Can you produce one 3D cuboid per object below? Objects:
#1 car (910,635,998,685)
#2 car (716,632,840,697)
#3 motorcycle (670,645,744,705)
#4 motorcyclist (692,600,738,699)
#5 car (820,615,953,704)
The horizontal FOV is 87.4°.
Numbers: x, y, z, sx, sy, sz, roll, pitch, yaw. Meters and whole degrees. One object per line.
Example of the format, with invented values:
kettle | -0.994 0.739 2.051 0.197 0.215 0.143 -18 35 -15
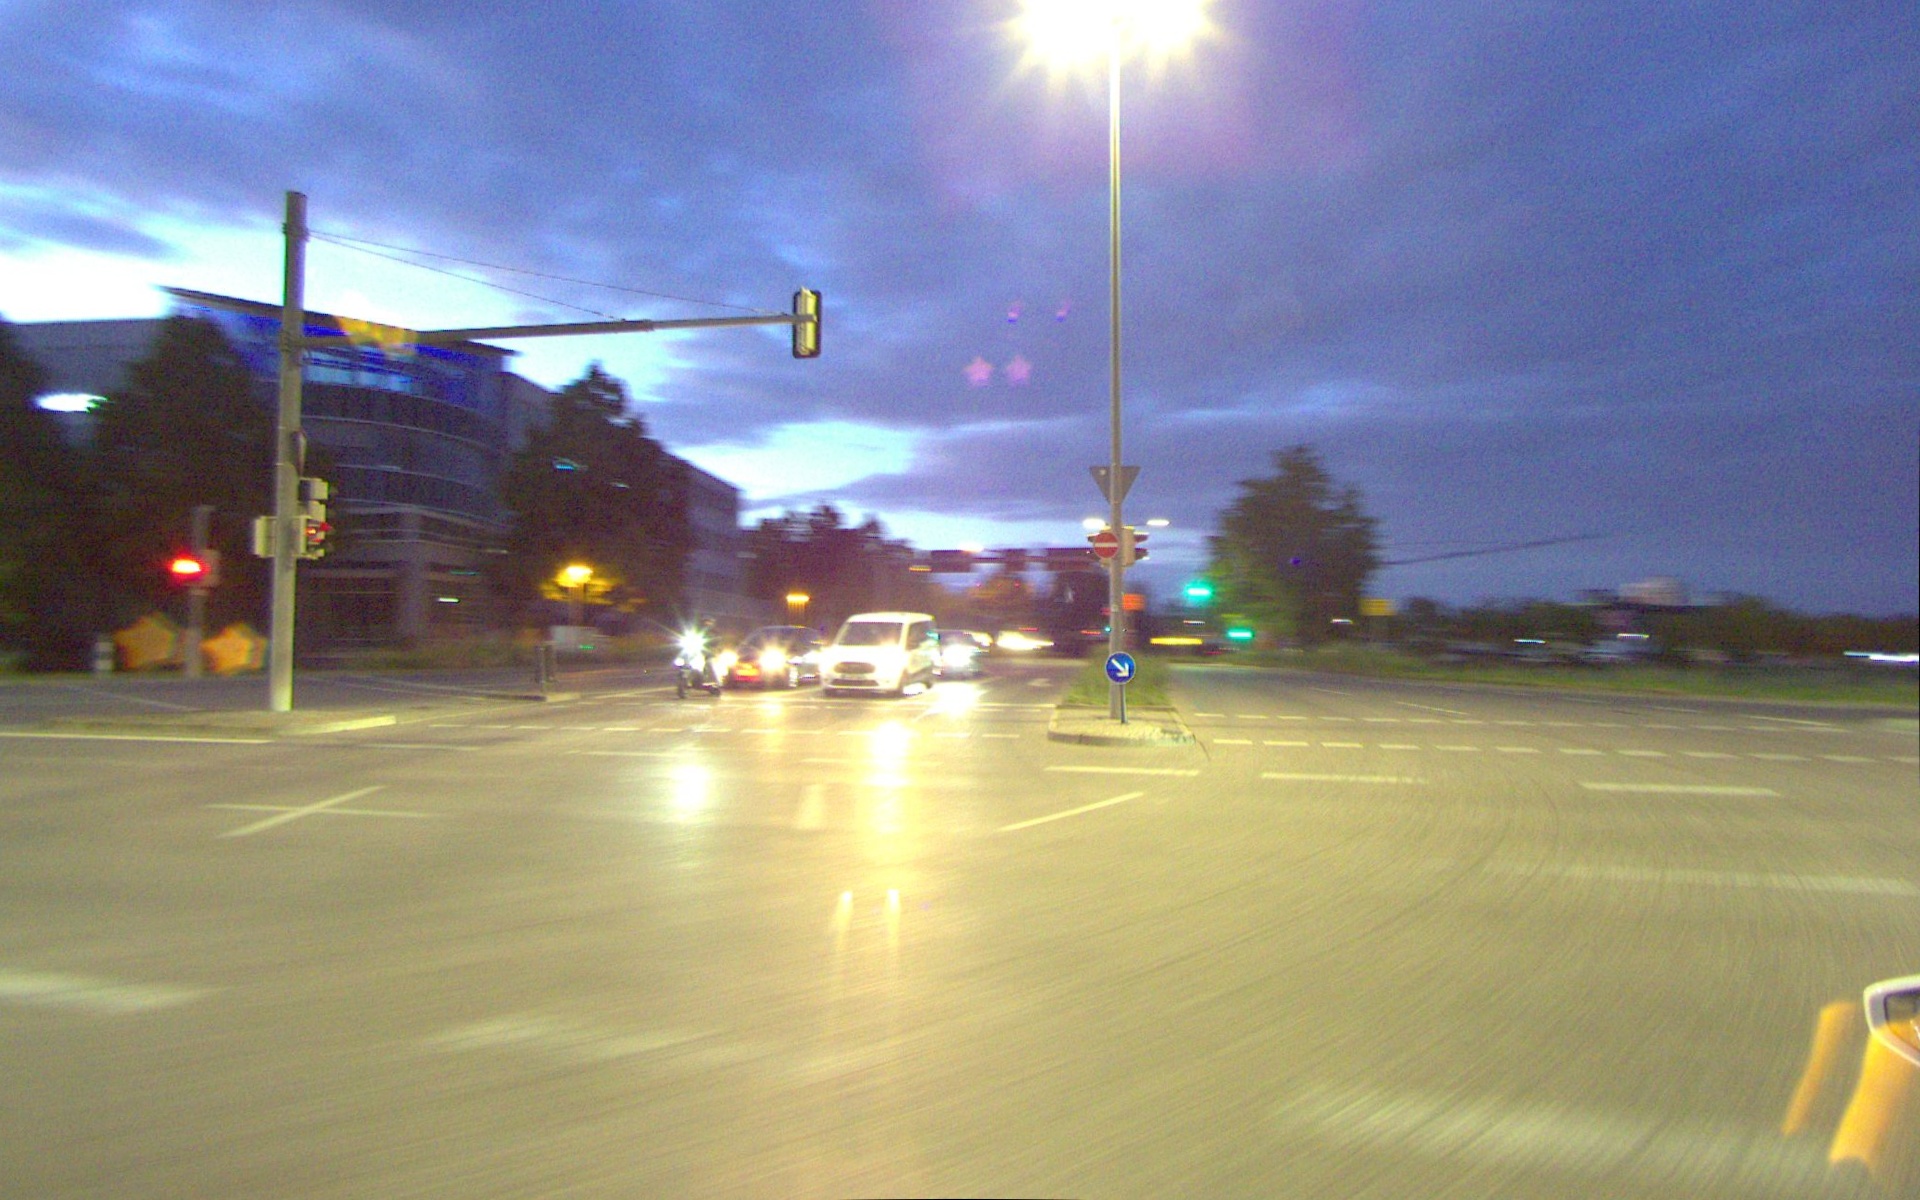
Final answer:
car | -0.088 1.799 30.964 1.839 1.416 4.842 0 -2 10
car | -4.397 1.542 24.832 1.739 1.466 3.783 0 -2 12
motorcycle | -5.234 1.532 20.896 0.659 1.179 1.809 -1 -2 16
motorcyclist | -5.159 1.033 21.168 0.623 2.040 0.768 -1 -1 16
car | -1.551 1.307 23.105 1.812 1.838 4.778 0 -2 12
